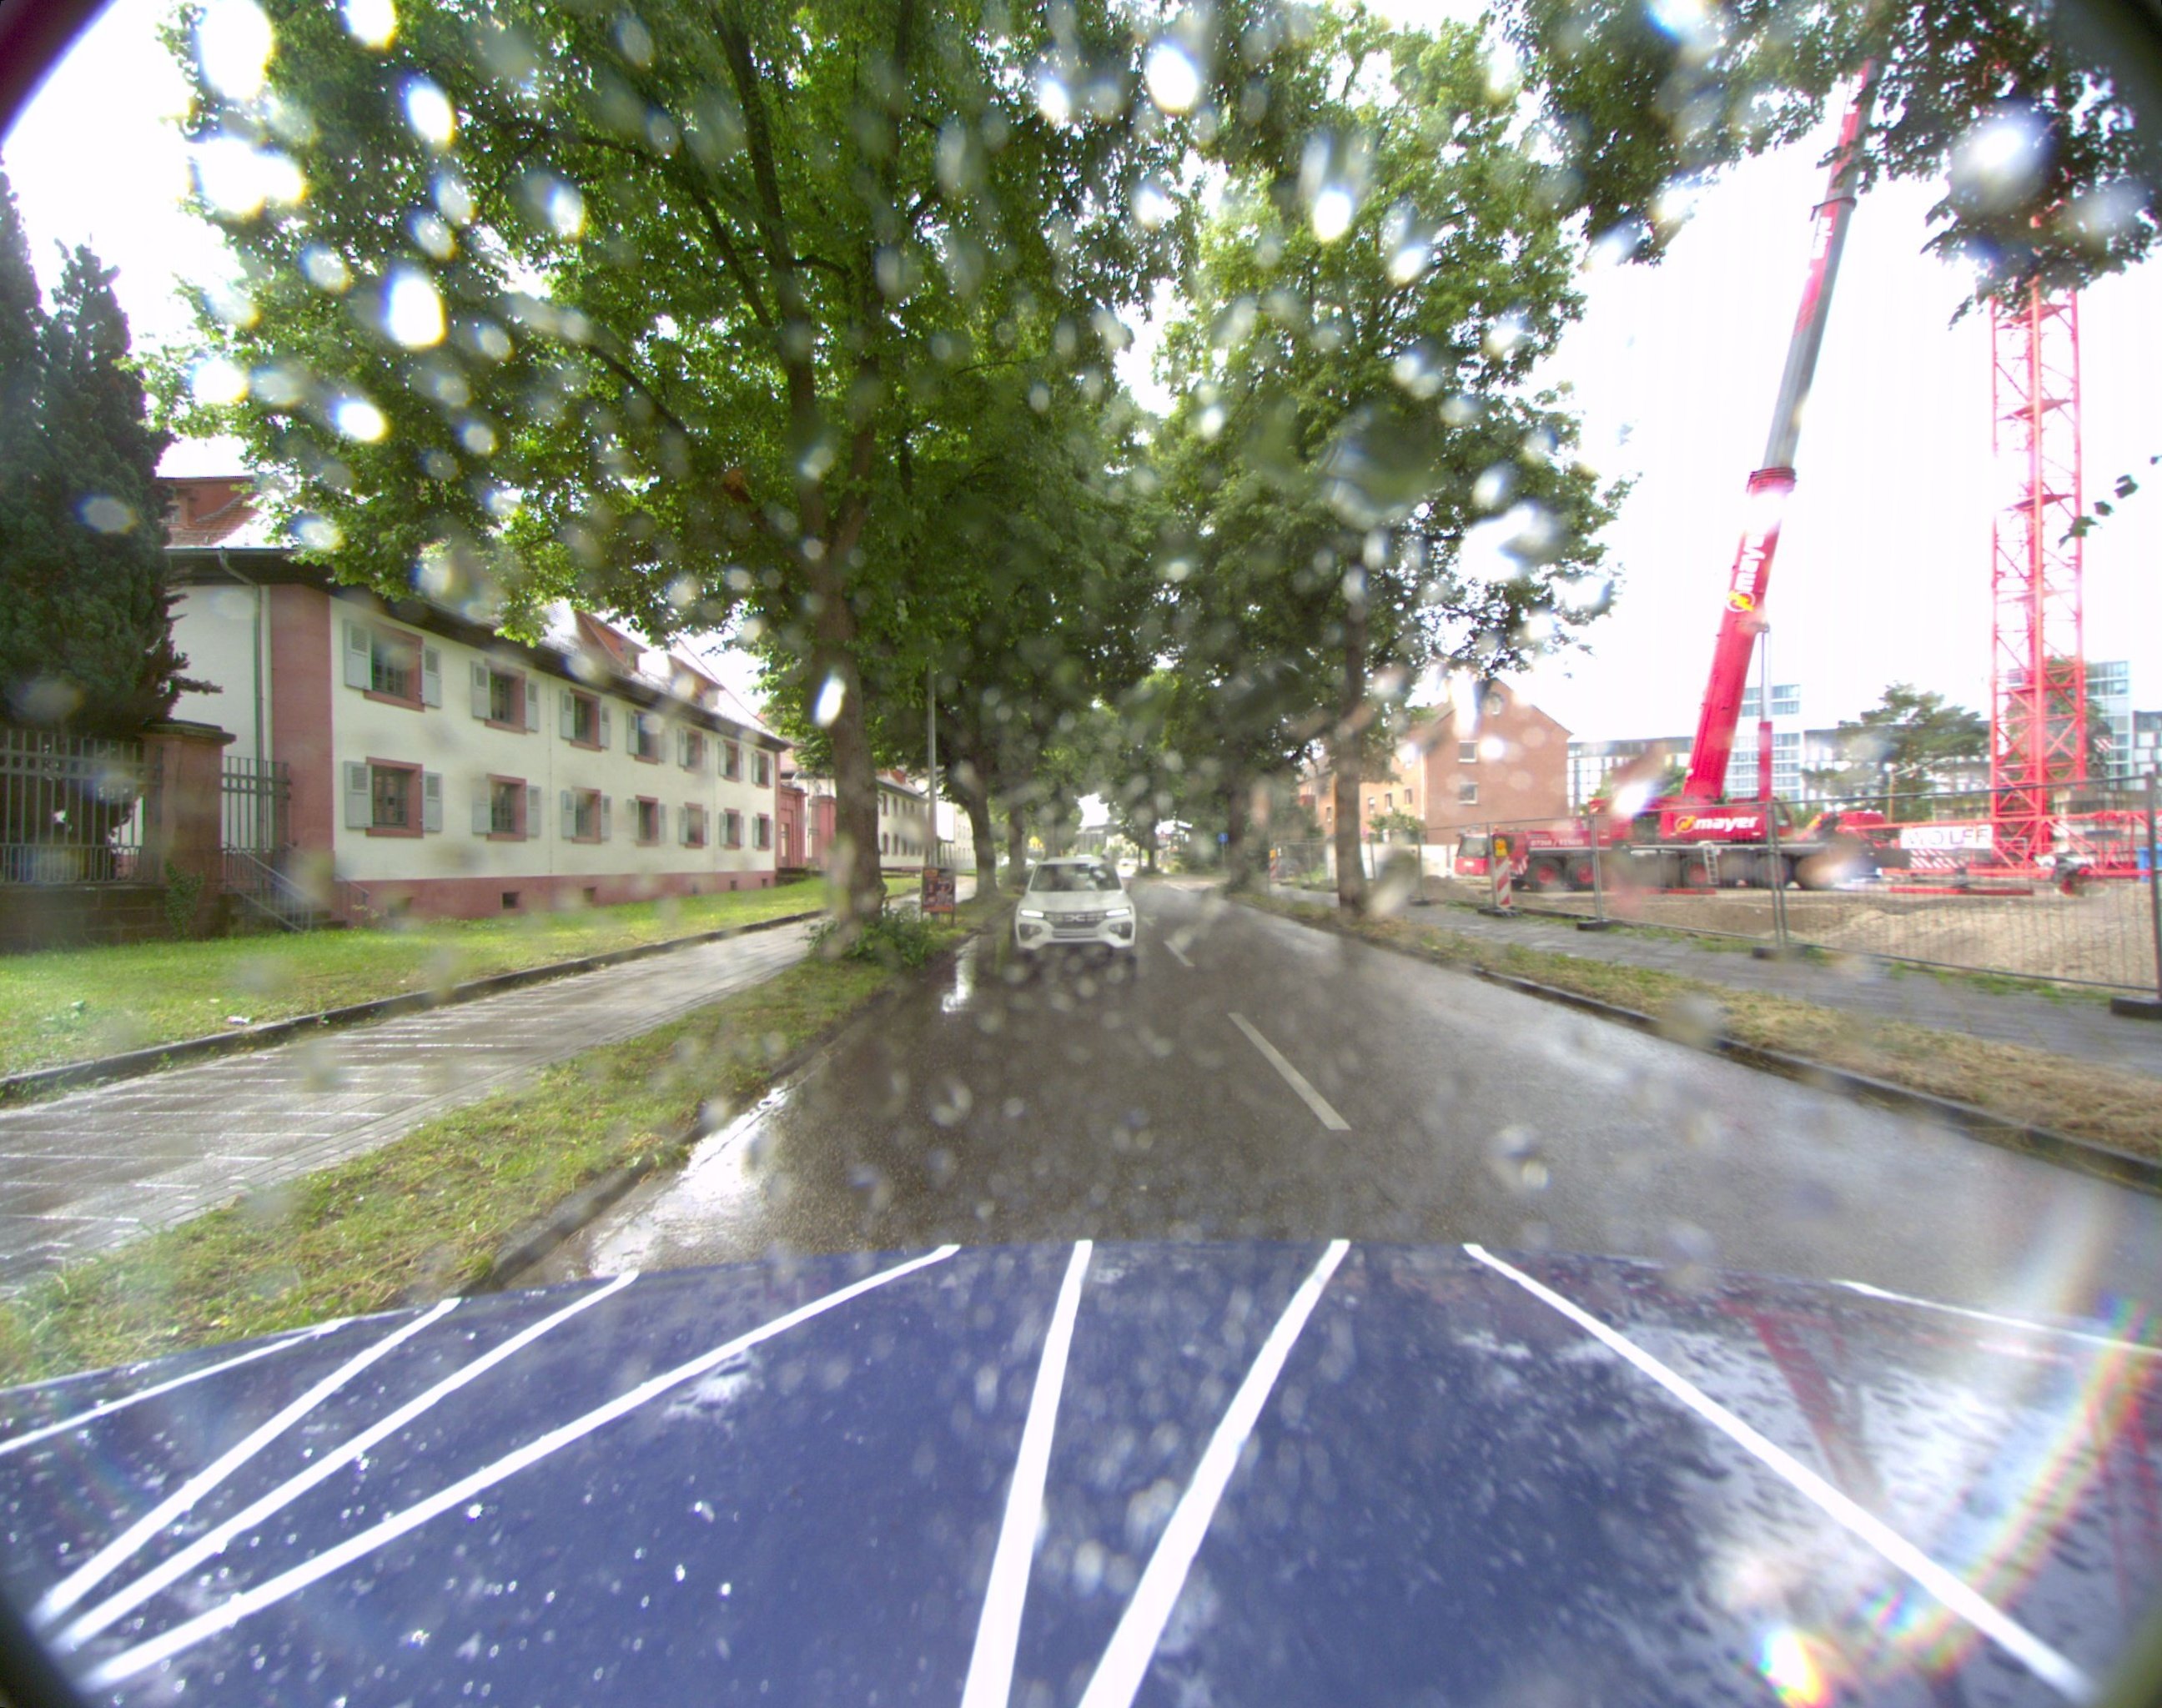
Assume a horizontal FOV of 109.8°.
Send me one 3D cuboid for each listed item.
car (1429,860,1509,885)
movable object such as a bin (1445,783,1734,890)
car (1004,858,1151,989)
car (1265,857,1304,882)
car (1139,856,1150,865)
[{"bbox_3d":[23.280,1.113,45.623,4.067,1.405,1.726,0,0,-11],"label":"car"},{"bbox_3d":[21.298,-0.667,32.351,9.834,4.091,3.367,-1,0,3],"label":"movable object such as a bin"},{"bbox_3d":[-0.082,0.846,10.989,1.737,1.525,3.616,-2,0,-2],"label":"car"},{"bbox_3d":[13.587,1.024,50.987,1.628,1.412,3.869,-2,2,2],"label":"car"},{"bbox_3d":[12.120,1.240,145.575,1.891,1.703,4.230,0,0,1],"label":"car"}]
